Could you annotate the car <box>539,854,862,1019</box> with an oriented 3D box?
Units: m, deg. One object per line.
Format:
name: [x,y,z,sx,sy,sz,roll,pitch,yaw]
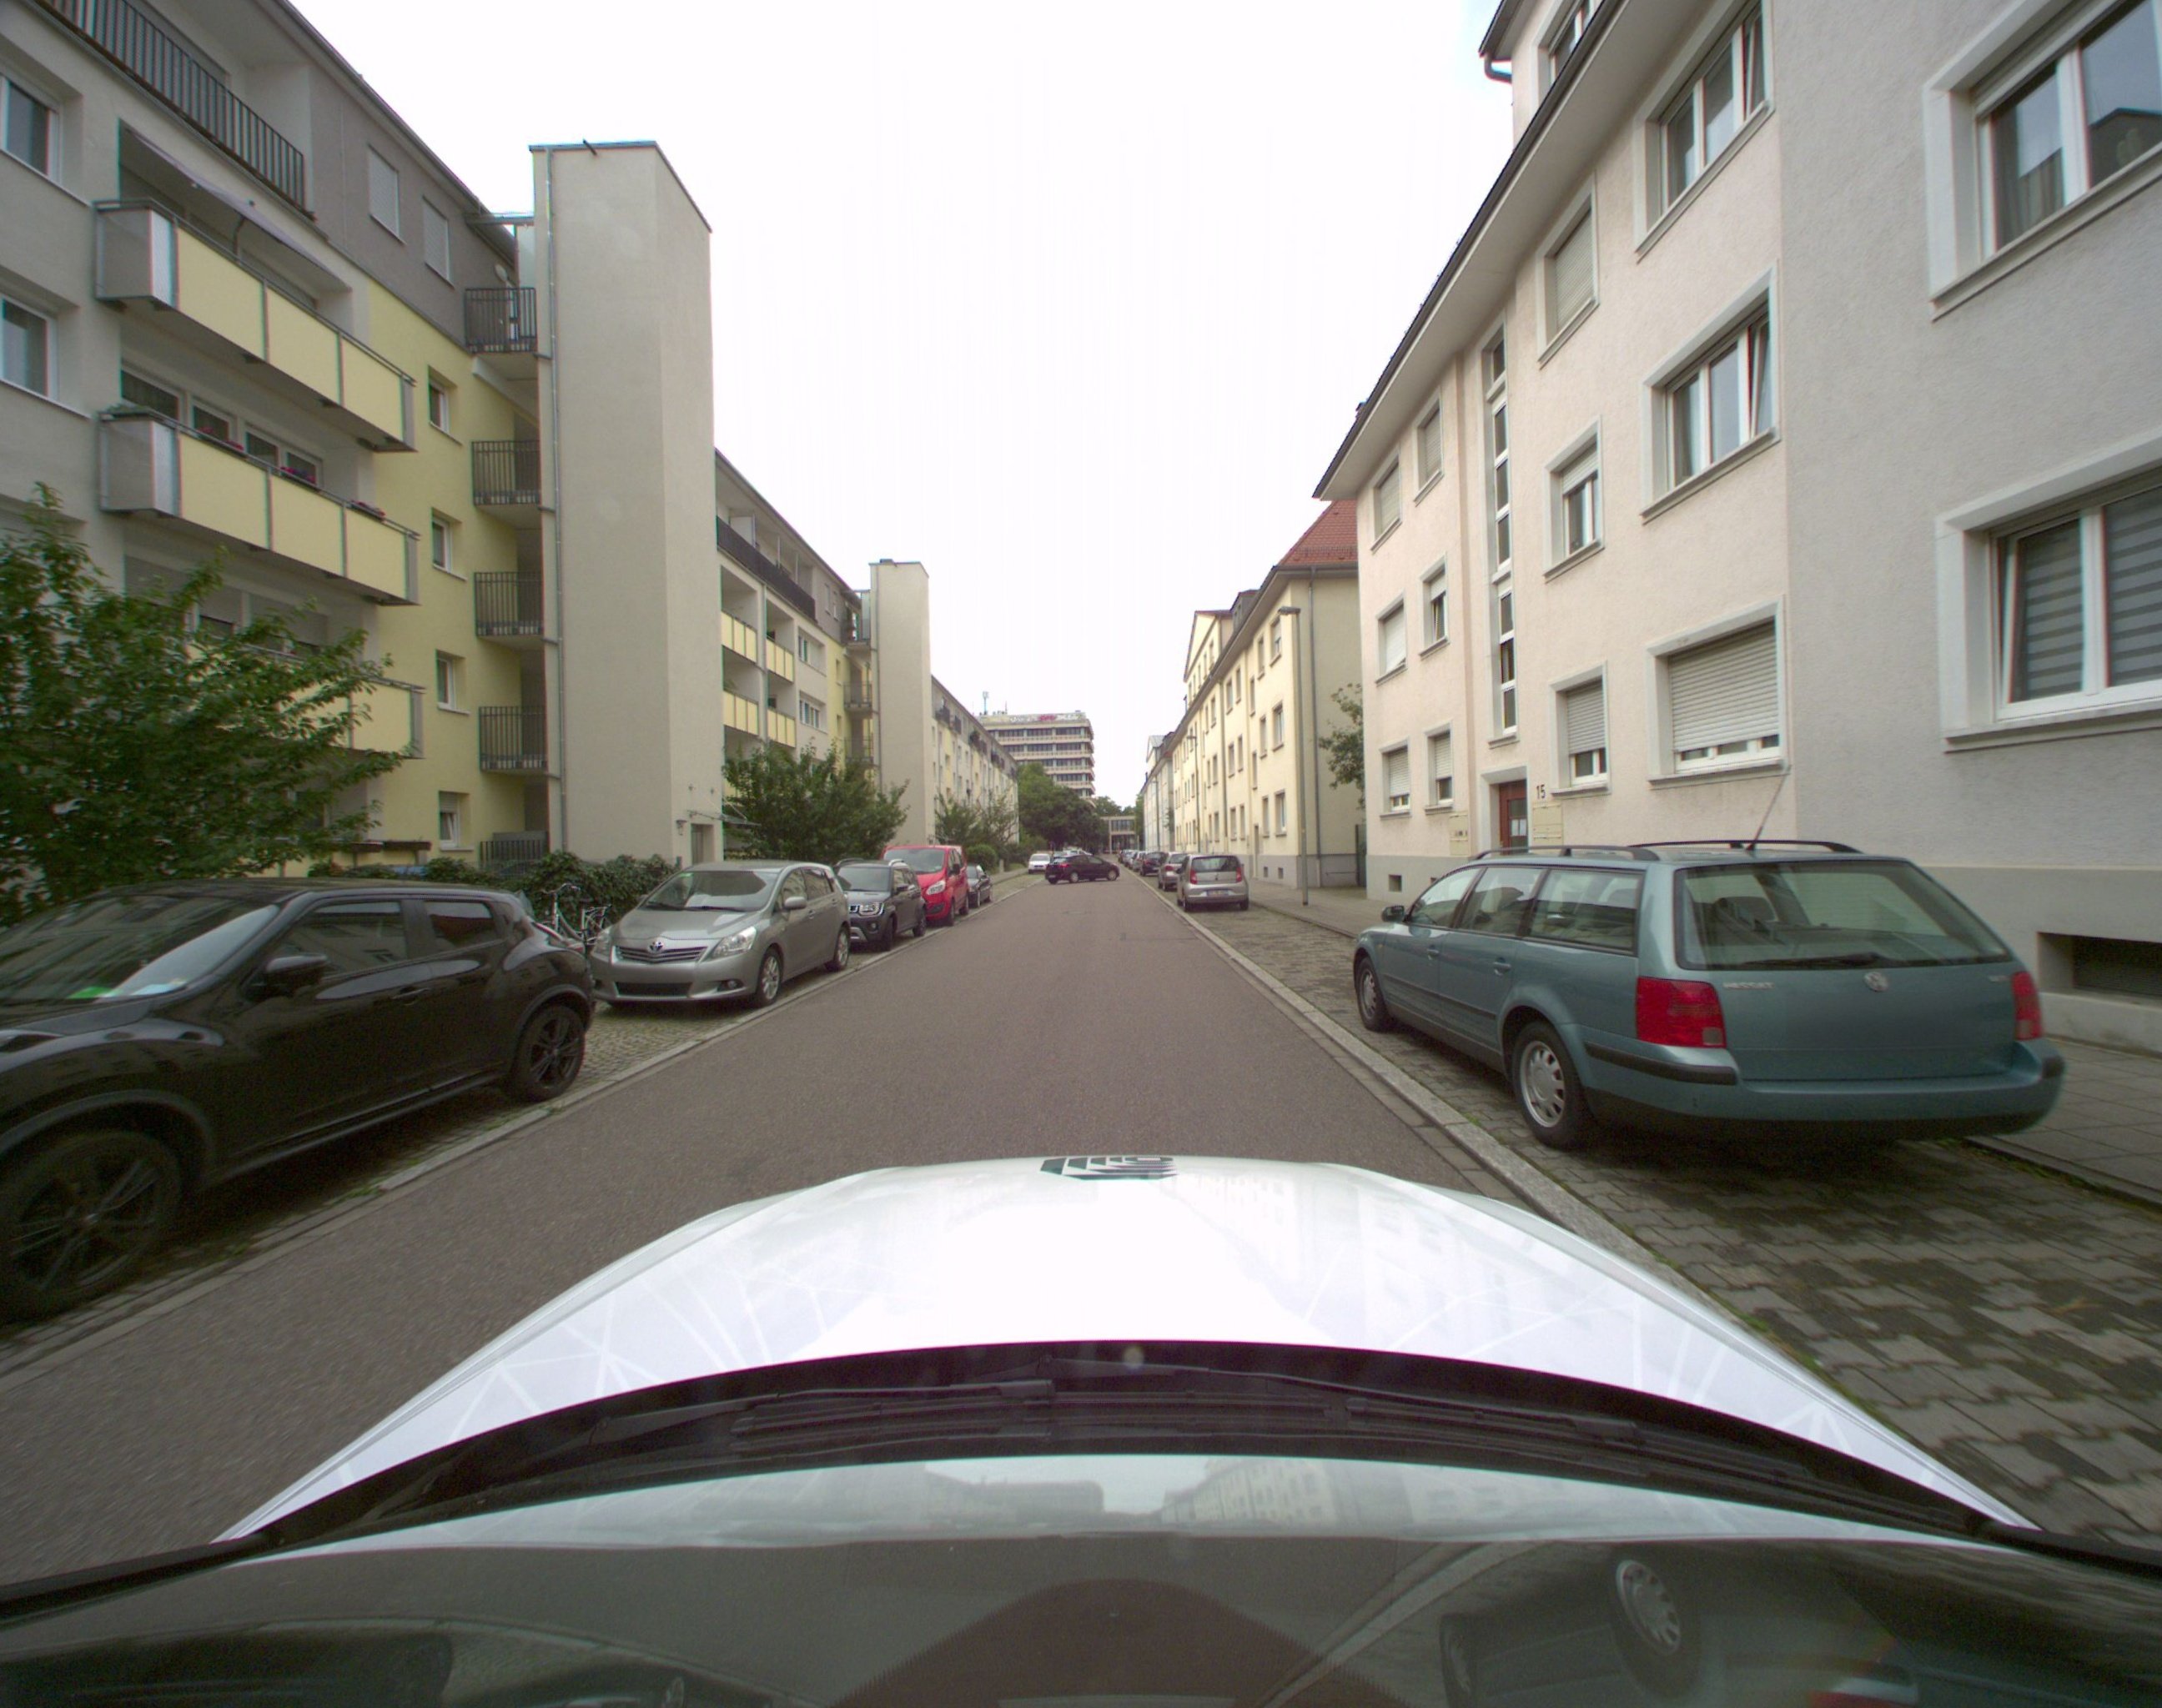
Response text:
car: [-4.330,0.805,10.315,1.829,1.570,4.860,1,0,-1]

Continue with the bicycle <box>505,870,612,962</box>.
bicycle: [-7.532,0.851,11.825,0.551,1.192,1.725,-2,0,-6]

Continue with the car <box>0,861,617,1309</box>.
car: [-4.532,0.831,4.351,1.646,1.530,3.899,1,0,4]

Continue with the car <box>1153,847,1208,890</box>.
car: [3.841,0.534,32.006,1.719,1.517,4.062,-2,0,1]

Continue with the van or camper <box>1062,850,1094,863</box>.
van or camper: [-0.515,0.382,133.840,5.159,2.013,1.998,-1,0,-3]

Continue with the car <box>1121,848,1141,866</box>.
car: [4.812,0.275,78.428,1.813,1.642,4.093,-2,0,2]

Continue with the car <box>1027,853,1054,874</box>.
car: [-2.999,0.691,61.521,1.714,1.570,3.871,1,0,2]

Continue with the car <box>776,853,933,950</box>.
car: [-4.085,0.781,15.385,1.714,1.570,4.055,1,0,2]

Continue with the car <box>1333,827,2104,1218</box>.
car: [3.123,0.642,5.283,1.719,1.469,4.265,-2,0,1]

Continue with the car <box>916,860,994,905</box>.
car: [-4.033,0.885,26.781,1.864,1.323,4.362,0,0,0]

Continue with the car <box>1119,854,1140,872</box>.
car: [4.108,0.735,69.497,1.718,1.476,4.506,0,0,2]

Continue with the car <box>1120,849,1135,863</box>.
car: [5.646,0.216,99.350,1.813,1.603,4.093,-2,0,2]

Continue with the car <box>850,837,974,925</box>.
car: [-4.111,0.598,20.722,2.145,1.954,4.920,1,0,-1]

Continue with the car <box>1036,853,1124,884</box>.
car: [-0.013,0.711,41.716,4.255,1.433,1.887,-1,0,-41]

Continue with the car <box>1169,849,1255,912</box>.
car: [3.415,0.637,21.865,1.719,1.492,4.062,-2,0,1]

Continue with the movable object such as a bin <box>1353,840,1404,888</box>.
movable object such as a bin: [9.304,0.315,25.531,1.157,1.444,1.150,-1,0,1]

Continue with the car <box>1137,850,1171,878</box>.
car: [4.358,0.564,48.862,1.719,1.517,4.062,-2,0,1]

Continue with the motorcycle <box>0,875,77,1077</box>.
motorcycle: [-7.540,0.807,4.522,0.866,1.307,2.421,0,0,2]

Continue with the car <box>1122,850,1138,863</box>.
car: [5.641,0.279,94.461,1.813,1.503,4.093,-2,0,2]

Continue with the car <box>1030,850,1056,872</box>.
car: [-3.109,0.582,67.363,1.950,1.770,4.360,0,0,-1]

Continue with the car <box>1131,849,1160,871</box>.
car: [4.665,0.427,59.169,1.842,1.450,3.834,-2,0,2]

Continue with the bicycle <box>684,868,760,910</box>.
bicycle: [-9.931,0.962,22.543,1.827,1.118,0.571,-1,0,3]
